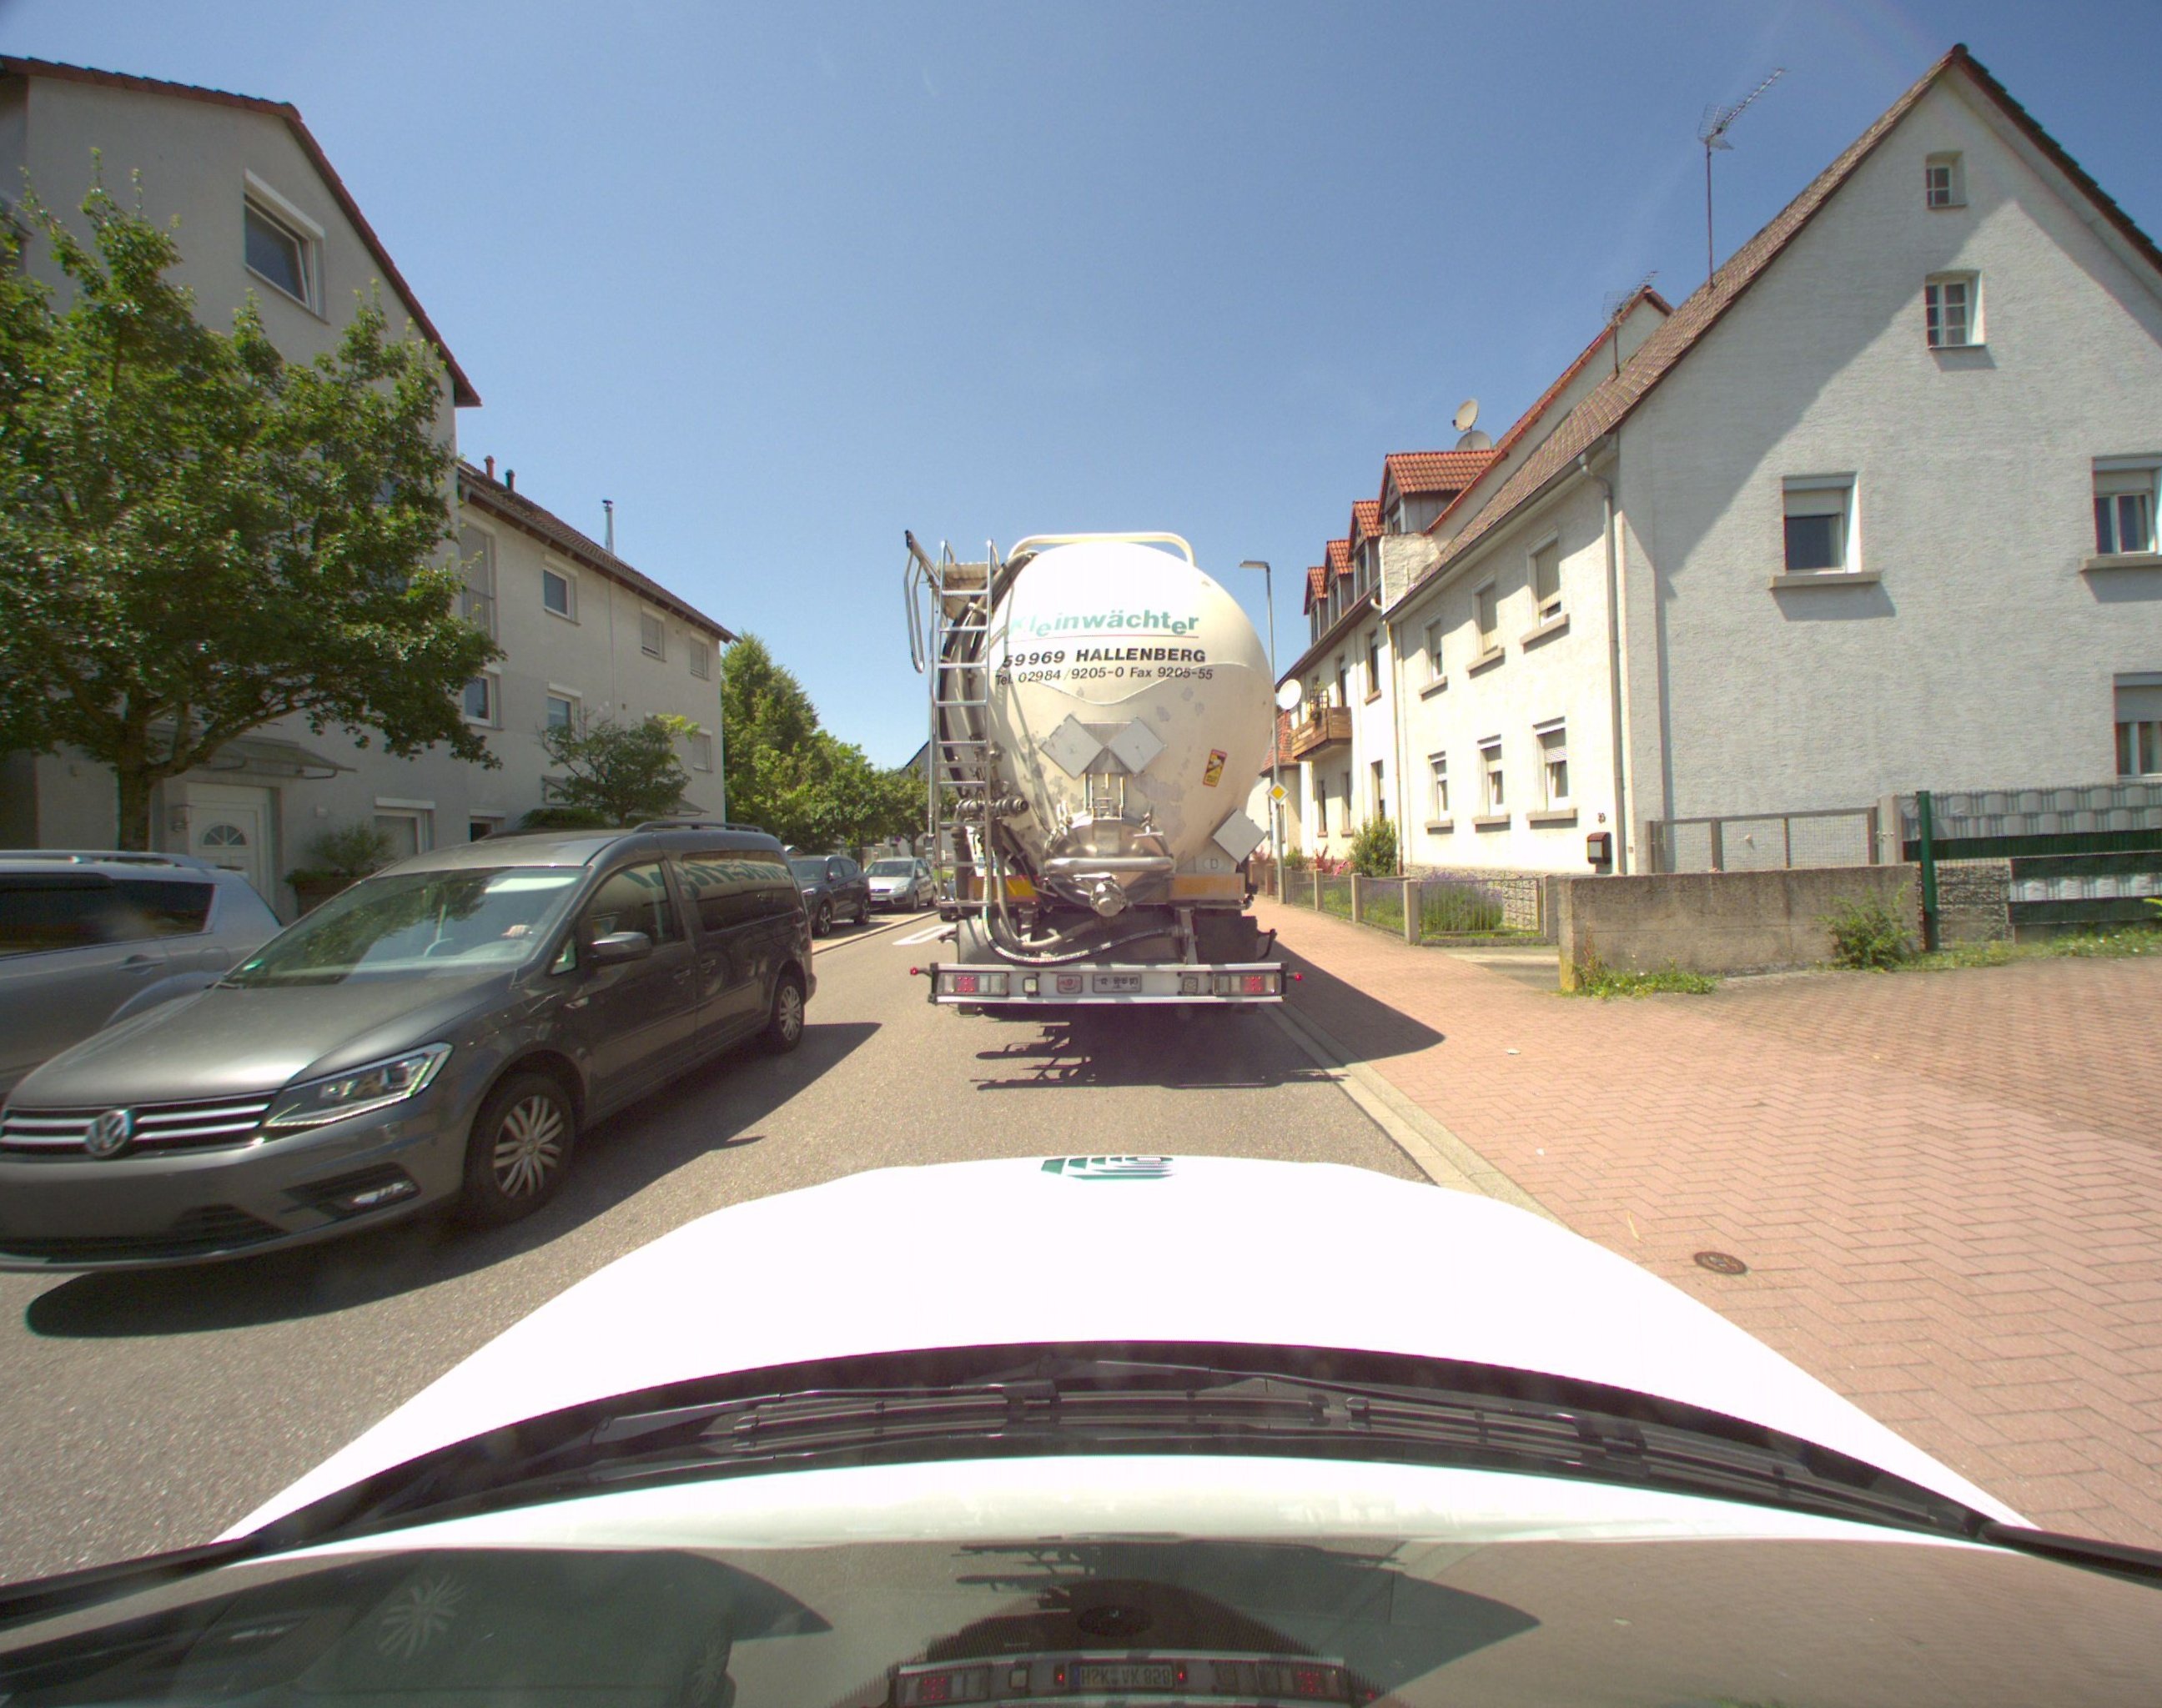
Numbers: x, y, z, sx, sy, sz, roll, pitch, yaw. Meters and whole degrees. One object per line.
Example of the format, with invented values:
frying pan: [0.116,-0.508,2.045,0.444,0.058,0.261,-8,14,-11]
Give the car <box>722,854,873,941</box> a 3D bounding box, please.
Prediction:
car: [-5.935,0.839,17.557,1.685,1.620,3.999,-1,0,2]

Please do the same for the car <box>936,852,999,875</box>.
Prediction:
car: [-8.985,0.756,64.822,4.597,1.651,1.745,-2,0,9]

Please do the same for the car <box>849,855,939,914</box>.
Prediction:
car: [-5.483,0.845,24.330,1.691,1.581,3.838,-1,0,1]

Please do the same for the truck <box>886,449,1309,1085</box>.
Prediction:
truck: [0.270,-0.561,10.000,2.631,4.015,9.566,-1,0,2]

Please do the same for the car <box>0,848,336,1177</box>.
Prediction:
car: [-6.418,0.830,3.774,1.700,1.686,4.526,-1,0,1]

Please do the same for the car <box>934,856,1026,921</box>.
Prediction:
car: [-2.615,0.842,21.947,1.712,1.446,4.257,-4,0,2]

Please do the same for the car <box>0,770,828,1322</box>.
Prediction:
car: [-3.219,0.676,5.084,1.649,1.855,4.466,-3,0,2]
